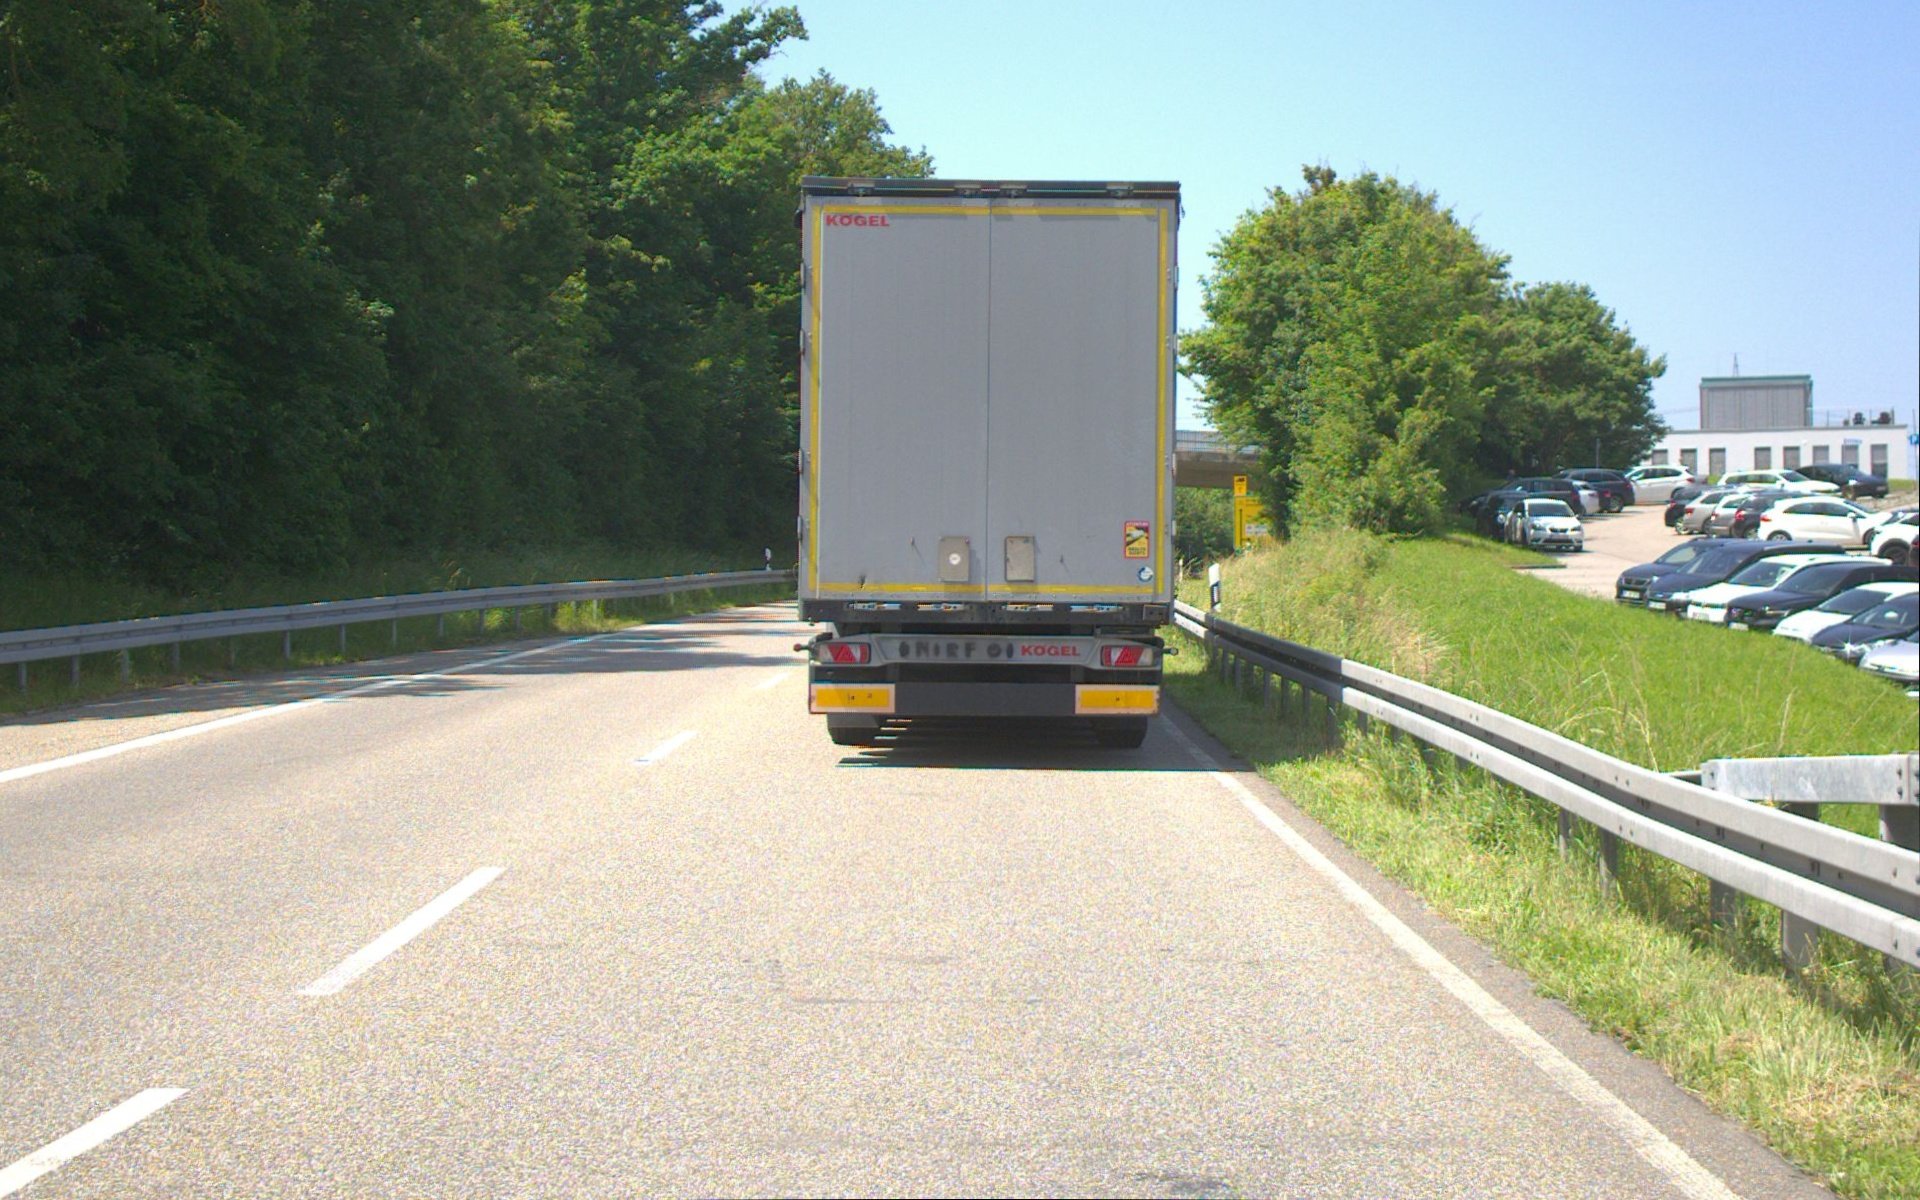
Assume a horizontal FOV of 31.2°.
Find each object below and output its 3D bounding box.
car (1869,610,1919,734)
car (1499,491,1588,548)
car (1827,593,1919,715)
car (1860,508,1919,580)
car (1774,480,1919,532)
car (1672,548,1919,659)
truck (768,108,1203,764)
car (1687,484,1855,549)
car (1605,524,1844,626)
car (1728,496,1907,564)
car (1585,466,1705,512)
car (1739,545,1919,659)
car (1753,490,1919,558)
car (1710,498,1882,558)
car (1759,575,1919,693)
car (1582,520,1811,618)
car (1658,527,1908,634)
[{"bbox_3d":[15.524,1.144,50.179,4.363,1.679,1.888,2,4,-36],"label":"car"},{"bbox_3d":[16.586,-2.300,97.816,1.624,1.349,3.712,5,3,-3],"label":"car"},{"bbox_3d":[15.802,0.887,53.703,4.363,1.679,1.888,2,4,-36],"label":"car"},{"bbox_3d":[24.569,-1.222,83.947,4.579,1.623,1.818,7,4,27],"label":"car"},{"bbox_3d":[31.055,-3.292,120.280,4.581,1.623,1.817,3,1,35],"label":"car"},{"bbox_3d":[15.485,0.070,63.194,4.362,1.679,1.889,3,4,-28],"label":"car"},{"bbox_3d":[0.176,-1.197,27.809,2.866,4.344,9.789,0,1,0],"label":"truck"},{"bbox_3d":[24.117,-2.500,102.221,4.577,1.623,1.819,4,4,21],"label":"car"},{"bbox_3d":[15.385,-0.499,69.142,4.362,1.679,1.889,3,4,-28],"label":"car"},{"bbox_3d":[23.923,-1.958,95.931,4.577,1.623,1.819,4,3,22],"label":"car"},{"bbox_3d":[26.940,-4.376,135.199,4.362,1.679,1.889,-1,6,-27],"label":"car"},{"bbox_3d":[16.002,0.077,60.051,4.362,1.679,1.889,3,4,-28],"label":"car"},{"bbox_3d":[24.021,-2.062,93.329,4.577,1.623,1.819,3,3,22],"label":"car"},{"bbox_3d":[24.094,-2.083,99.133,4.577,1.623,1.819,2,2,22],"label":"car"},{"bbox_3d":[15.397,0.589,56.484,4.363,1.679,1.888,2,4,-36],"label":"car"},{"bbox_3d":[15.473,-0.649,72.207,4.362,1.679,1.889,3,4,-28],"label":"car"},{"bbox_3d":[15.849,-0.371,66.170,4.362,1.679,1.889,3,4,-28],"label":"car"}]
